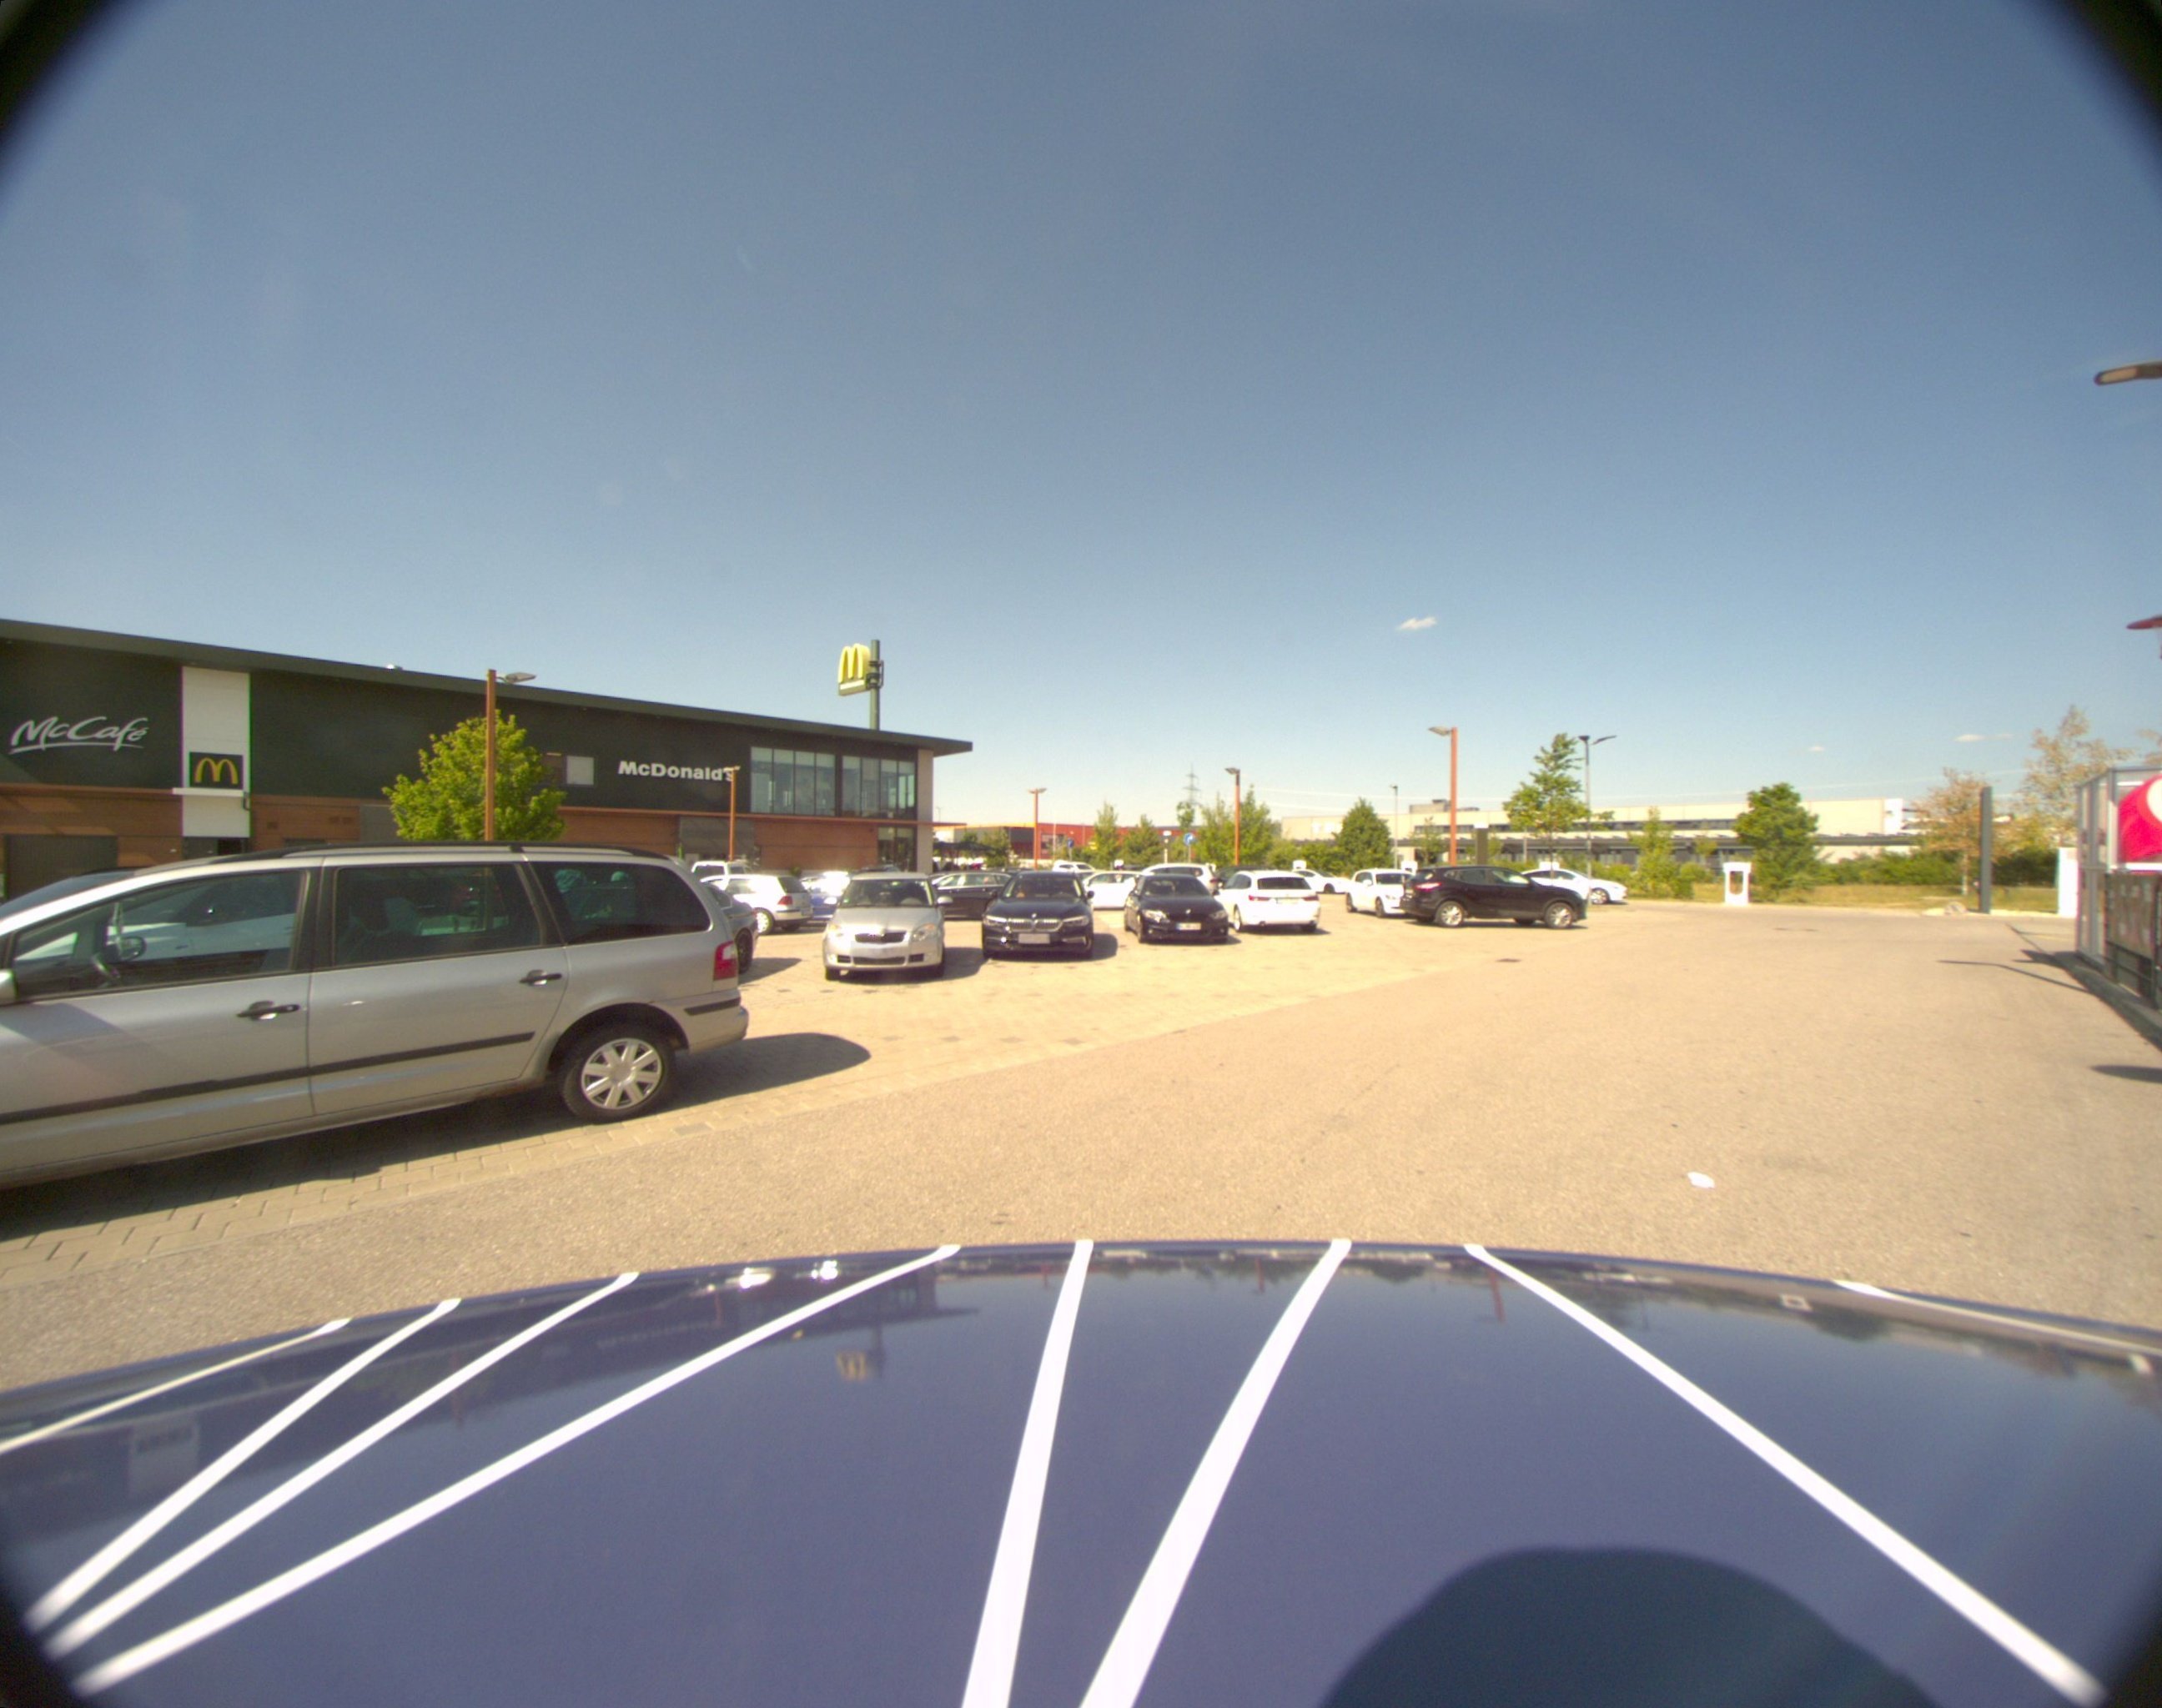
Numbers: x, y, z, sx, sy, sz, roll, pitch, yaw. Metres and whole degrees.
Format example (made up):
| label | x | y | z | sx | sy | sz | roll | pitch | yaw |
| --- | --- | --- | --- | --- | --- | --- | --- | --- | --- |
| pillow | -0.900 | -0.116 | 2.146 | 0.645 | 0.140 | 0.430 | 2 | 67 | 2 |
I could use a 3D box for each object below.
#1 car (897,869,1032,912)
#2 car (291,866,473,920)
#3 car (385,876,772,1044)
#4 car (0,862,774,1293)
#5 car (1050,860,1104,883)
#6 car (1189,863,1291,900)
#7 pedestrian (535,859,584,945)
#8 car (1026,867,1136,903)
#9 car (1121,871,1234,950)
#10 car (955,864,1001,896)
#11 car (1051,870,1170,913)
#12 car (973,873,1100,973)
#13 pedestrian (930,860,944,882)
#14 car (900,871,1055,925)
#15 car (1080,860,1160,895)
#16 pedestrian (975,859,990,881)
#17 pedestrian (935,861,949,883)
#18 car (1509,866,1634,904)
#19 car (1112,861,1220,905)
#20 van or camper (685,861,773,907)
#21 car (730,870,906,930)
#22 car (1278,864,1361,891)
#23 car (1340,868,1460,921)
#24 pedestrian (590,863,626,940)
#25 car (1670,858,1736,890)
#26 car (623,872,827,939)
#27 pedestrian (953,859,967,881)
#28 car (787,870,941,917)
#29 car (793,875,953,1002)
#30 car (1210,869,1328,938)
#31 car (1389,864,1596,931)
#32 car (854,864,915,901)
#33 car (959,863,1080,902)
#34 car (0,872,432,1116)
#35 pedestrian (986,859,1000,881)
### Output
| label | x | y | z | sx | sy | sz | roll | pitch | yaw |
| --- | --- | --- | --- | --- | --- | --- | --- | --- | --- |
| car | -4.237 | 1.337 | 28.077 | 4.640 | 1.478 | 1.896 | 0 | 0 | 4 |
| car | -22.584 | 1.194 | 24.844 | 1.961 | 1.593 | 4.467 | 0 | -1 | -2 |
| car | -5.830 | 1.087 | 9.769 | 1.974 | 1.517 | 4.845 | 0 | -1 | -3 |
| car | -4.471 | 0.938 | 4.336 | 4.693 | 1.738 | 1.828 | 0 | 0 | -43 |
| car | -0.324 | 1.226 | 53.237 | 1.767 | 1.552 | 3.873 | 0 | -1 | -38 |
| car | 6.721 | 1.153 | 32.472 | 3.997 | 1.543 | 1.755 | 0 | 0 | 1 |
| pedestrian | -11.576 | 1.032 | 16.868 | 0.836 | 1.838 | 0.768 | 0 | 0 | -40 |
| car | 0.053 | 1.338 | 33.211 | 4.640 | 1.478 | 1.896 | 0 | 0 | 4 |
| car | 1.960 | 1.121 | 16.702 | 1.835 | 1.451 | 4.370 | 0 | -1 | -1 |
| car | -5.348 | 1.332 | 39.833 | 1.715 | 1.603 | 4.037 | 0 | -1 | 2 |
| car | 1.042 | 1.306 | 27.042 | 4.111 | 1.405 | 1.813 | 0 | 0 | 2 |
| car | -0.681 | 1.141 | 14.275 | 1.974 | 1.478 | 4.784 | 0 | -1 | 0 |
| pedestrian | -9.912 | 1.160 | 52.348 | 0.700 | 1.550 | 0.723 | 0 | 0 | 19 |
| car | -2.993 | 1.283 | 22.592 | 4.275 | 1.478 | 1.814 | 0 | 0 | 4 |
| car | 2.057 | 1.201 | 39.504 | 3.952 | 1.764 | 1.655 | 0 | 0 | 9 |
| pedestrian | -6.872 | 1.090 | 52.944 | 0.703 | 1.550 | 0.720 | 0 | 0 | -41 |
| pedestrian | -9.906 | 1.257 | 54.219 | 0.700 | 1.550 | 0.723 | 0 | 0 | 19 |
| car | 22.443 | 1.386 | 34.874 | 4.563 | 1.583 | 1.846 | 0 | 0 | 45 |
| car | 3.331 | 1.141 | 30.082 | 4.110 | 1.664 | 1.814 | 0 | 0 | 4 |
| van or camper | -14.399 | 1.164 | 31.295 | 1.710 | 1.764 | 4.029 | 0 | -1 | 1 |
| car | -7.027 | 1.204 | 20.552 | 4.110 | 1.506 | 1.814 | 0 | 0 | 4 |
| car | 14.010 | 1.363 | 44.769 | 1.846 | 1.470 | 4.320 | 0 | 0 | -41 |
| car | 9.712 | 1.175 | 23.560 | 1.974 | 1.451 | 4.207 | 0 | -1 | 0 |
| pedestrian | -10.863 | 1.076 | 17.453 | 0.552 | 1.758 | 0.467 | 0 | 0 | -4 |
| car | 35.622 | 1.125 | 43.484 | 4.265 | 1.739 | 1.914 | 0 | -1 | -37 |
| car | -8.460 | 1.197 | 18.277 | 4.110 | 1.484 | 1.712 | 0 | 0 | 4 |
| pedestrian | -8.299 | 1.087 | 52.044 | 0.703 | 1.550 | 0.720 | 0 | 0 | -41 |
| car | -7.243 | 1.323 | 25.653 | 4.640 | 1.478 | 1.896 | 0 | 0 | 4 |
| car | -3.089 | 1.124 | 11.803 | 1.976 | 1.517 | 4.203 | 0 | -1 | -12 |
| car | 4.499 | 1.136 | 18.948 | 1.835 | 1.451 | 4.585 | 0 | -1 | 0 |
| car | 10.472 | 1.079 | 19.607 | 4.298 | 1.581 | 1.858 | 0 | 0 | 5 |
| car | -9.219 | 1.306 | 36.015 | 1.715 | 1.603 | 4.037 | 0 | -1 | 2 |
| car | -2.409 | 1.135 | 30.582 | 4.640 | 1.478 | 1.896 | 0 | 0 | 4 |
| car | -8.643 | 1.024 | 6.991 | 1.975 | 1.644 | 4.205 | 0 | -1 | -5 |
| pedestrian | -6.245 | 1.100 | 53.980 | 0.703 | 1.550 | 0.720 | 0 | 0 | -41 |
